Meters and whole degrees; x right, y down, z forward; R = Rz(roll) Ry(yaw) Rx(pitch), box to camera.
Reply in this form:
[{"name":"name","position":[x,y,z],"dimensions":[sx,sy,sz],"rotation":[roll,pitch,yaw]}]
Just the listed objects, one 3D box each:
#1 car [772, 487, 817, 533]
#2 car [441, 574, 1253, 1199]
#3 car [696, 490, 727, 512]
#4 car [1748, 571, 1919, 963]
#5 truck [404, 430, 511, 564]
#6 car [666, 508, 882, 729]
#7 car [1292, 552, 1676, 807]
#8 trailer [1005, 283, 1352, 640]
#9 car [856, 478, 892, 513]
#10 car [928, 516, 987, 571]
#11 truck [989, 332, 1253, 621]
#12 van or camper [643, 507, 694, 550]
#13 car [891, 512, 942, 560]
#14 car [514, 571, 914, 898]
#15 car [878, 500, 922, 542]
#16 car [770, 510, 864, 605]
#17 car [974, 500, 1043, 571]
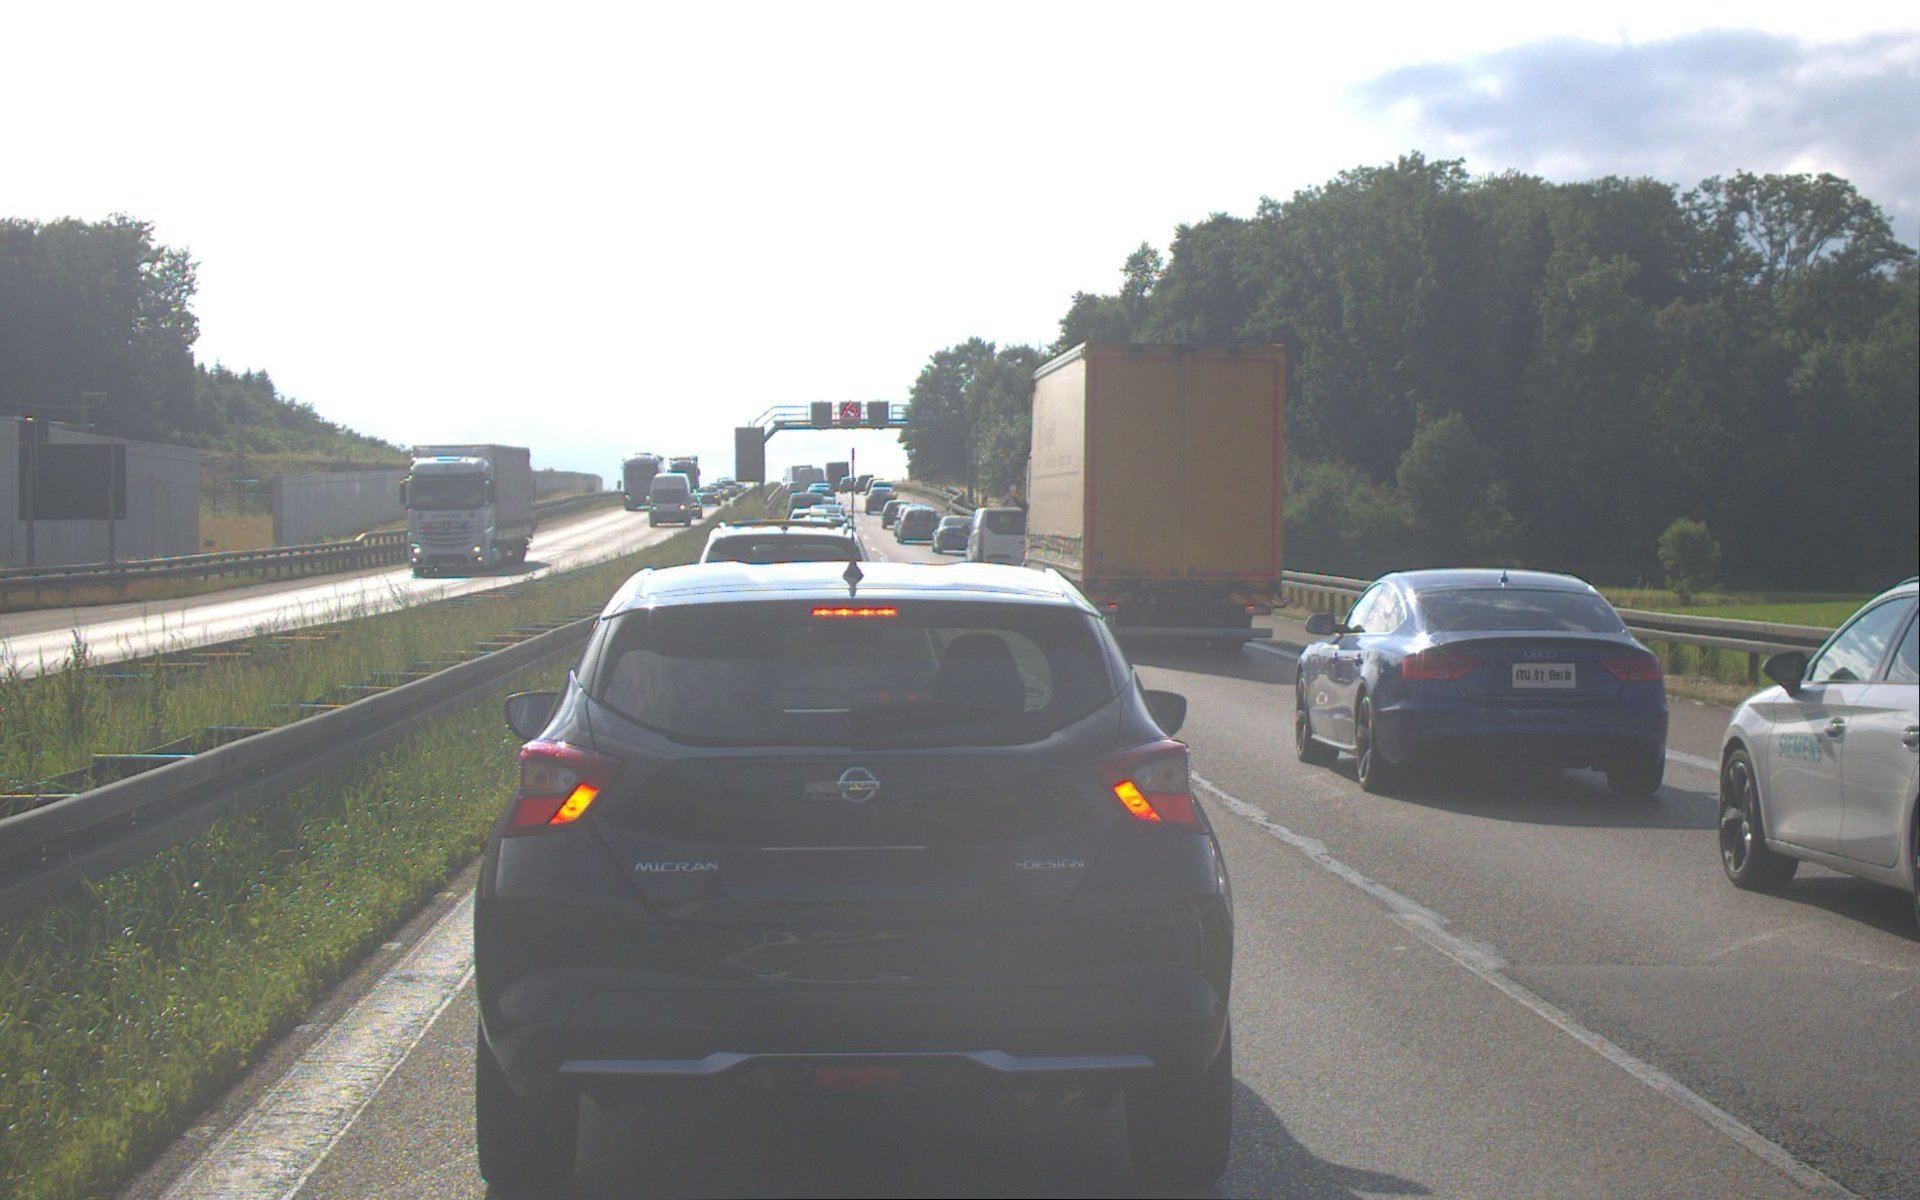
[{"name":"car","position":[-7.621,-4.136,158.055],"dimensions":[1.993,2.007,4.001],"rotation":[1,1,-3]},{"name":"car","position":[-0.261,0.656,8.995],"dimensions":[1.710,1.421,3.378],"rotation":[1,0,-1]},{"name":"car","position":[-18.081,-7.205,249.885],"dimensions":[1.993,1.481,4.398],"rotation":[1,1,-1]},{"name":"car","position":[4.340,0.623,12.774],"dimensions":[1.620,1.440,4.147],"rotation":[1,0,-4]},{"name":"truck","position":[-15.903,-3.213,109.213],"dimensions":[2.637,4.084,7.003],"rotation":[1,1,-3]},{"name":"car","position":[-1.507,0.131,28.891],"dimensions":[1.674,1.720,3.596],"rotation":[1,0,-1]},{"name":"car","position":[3.268,0.447,22.183],"dimensions":[1.747,1.470,4.147],"rotation":[1,0,-1]},{"name":"trailer","position":[2.840,-1.805,49.630],"dimensions":[3.548,4.442,12.723],"rotation":[1,1,-3]},{"name":"car","position":[-5.168,-6.235,206.121],"dimensions":[1.993,2.007,4.001],"rotation":[1,1,-3]},{"name":"car","position":[-0.118,-2.095,129.027],"dimensions":[1.993,2.007,4.001],"rotation":[1,1,-3]},{"name":"truck","position":[2.497,-1.922,55.917],"dimensions":[3.581,4.364,6.689],"rotation":[1,1,-3]},{"name":"van or camper","position":[-15.423,-3.768,182.156],"dimensions":[2.166,2.198,6.259],"rotation":[1,1,-1]},{"name":"car","position":[-1.881,-2.733,146.930],"dimensions":[1.993,2.007,4.001],"rotation":[1,1,-3]},{"name":"car","position":[-1.077,0.553,16.327],"dimensions":[1.674,1.362,3.596],"rotation":[1,0,-1]},{"name":"car","position":[-2.998,-3.942,171.220],"dimensions":[1.993,2.007,4.001],"rotation":[1,1,-3]},{"name":"car","position":[-3.180,-0.928,75.786],"dimensions":[1.993,2.007,4.001],"rotation":[1,1,-3]},{"name":"car","position":[1.218,-1.632,87.827],"dimensions":[1.667,1.748,3.327],"rotation":[1,1,-1]}]
